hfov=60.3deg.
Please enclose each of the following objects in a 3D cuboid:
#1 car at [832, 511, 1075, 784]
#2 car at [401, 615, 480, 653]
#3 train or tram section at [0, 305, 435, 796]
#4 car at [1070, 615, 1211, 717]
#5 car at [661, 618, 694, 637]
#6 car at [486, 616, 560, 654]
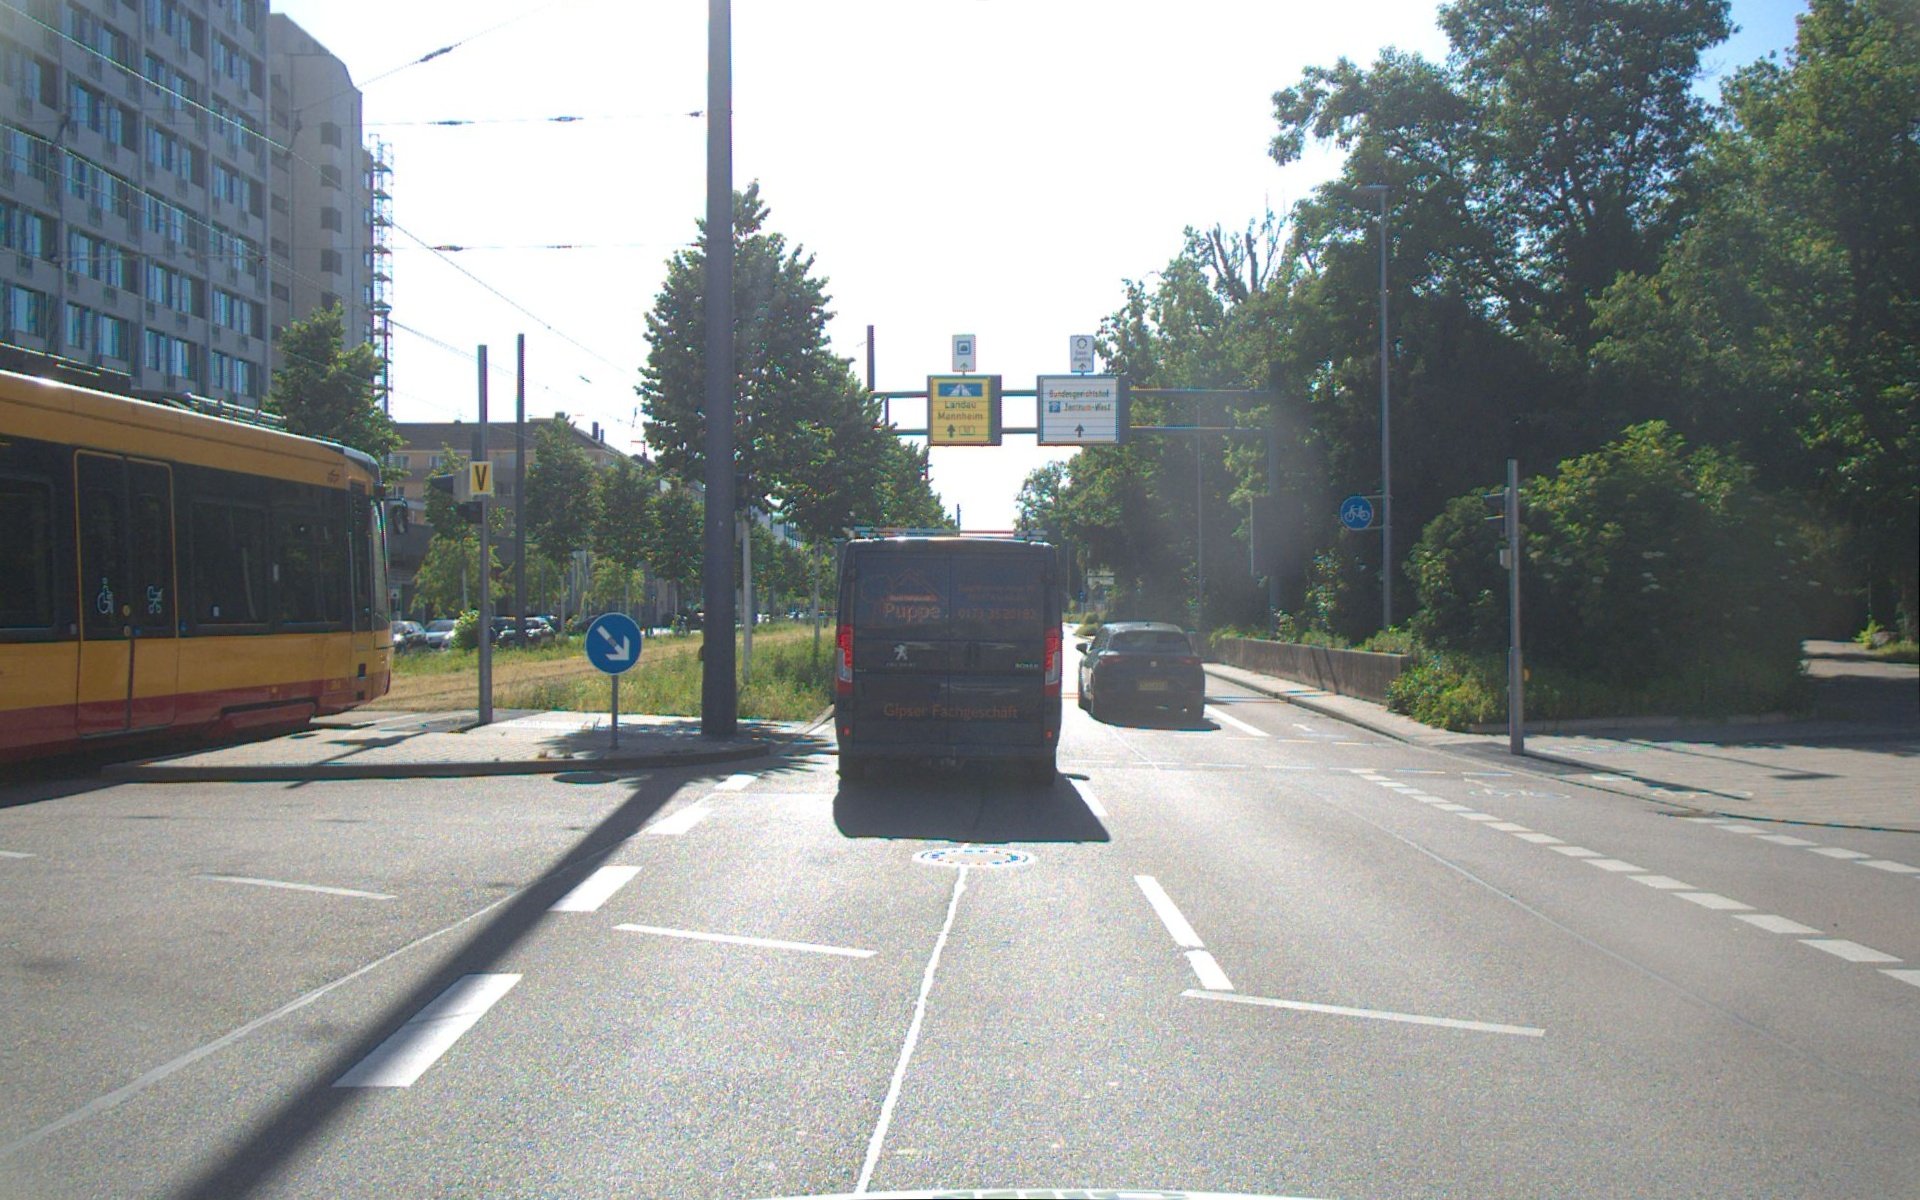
[{"bbox_3d":[-0.038,0.421,16.033,2.039,2.288,4.000,1,-1,0],"label":"car"},{"bbox_3d":[-22.233,1.436,70.935,1.952,1.579,4.001,1,-1,3],"label":"car"},{"bbox_3d":[-8.106,-0.355,15.469,1.952,3.733,11.688,1,-1,3],"label":"train or tram section"},{"bbox_3d":[2.799,0.993,26.391,1.727,1.488,3.999,1,-1,-1],"label":"car"},{"bbox_3d":[-23.831,2.296,139.736,1.952,1.579,4.001,1,-1,2],"label":"car"},{"bbox_3d":[-18.918,1.476,71.775,1.952,1.579,4.001,1,-1,3],"label":"car"}]
